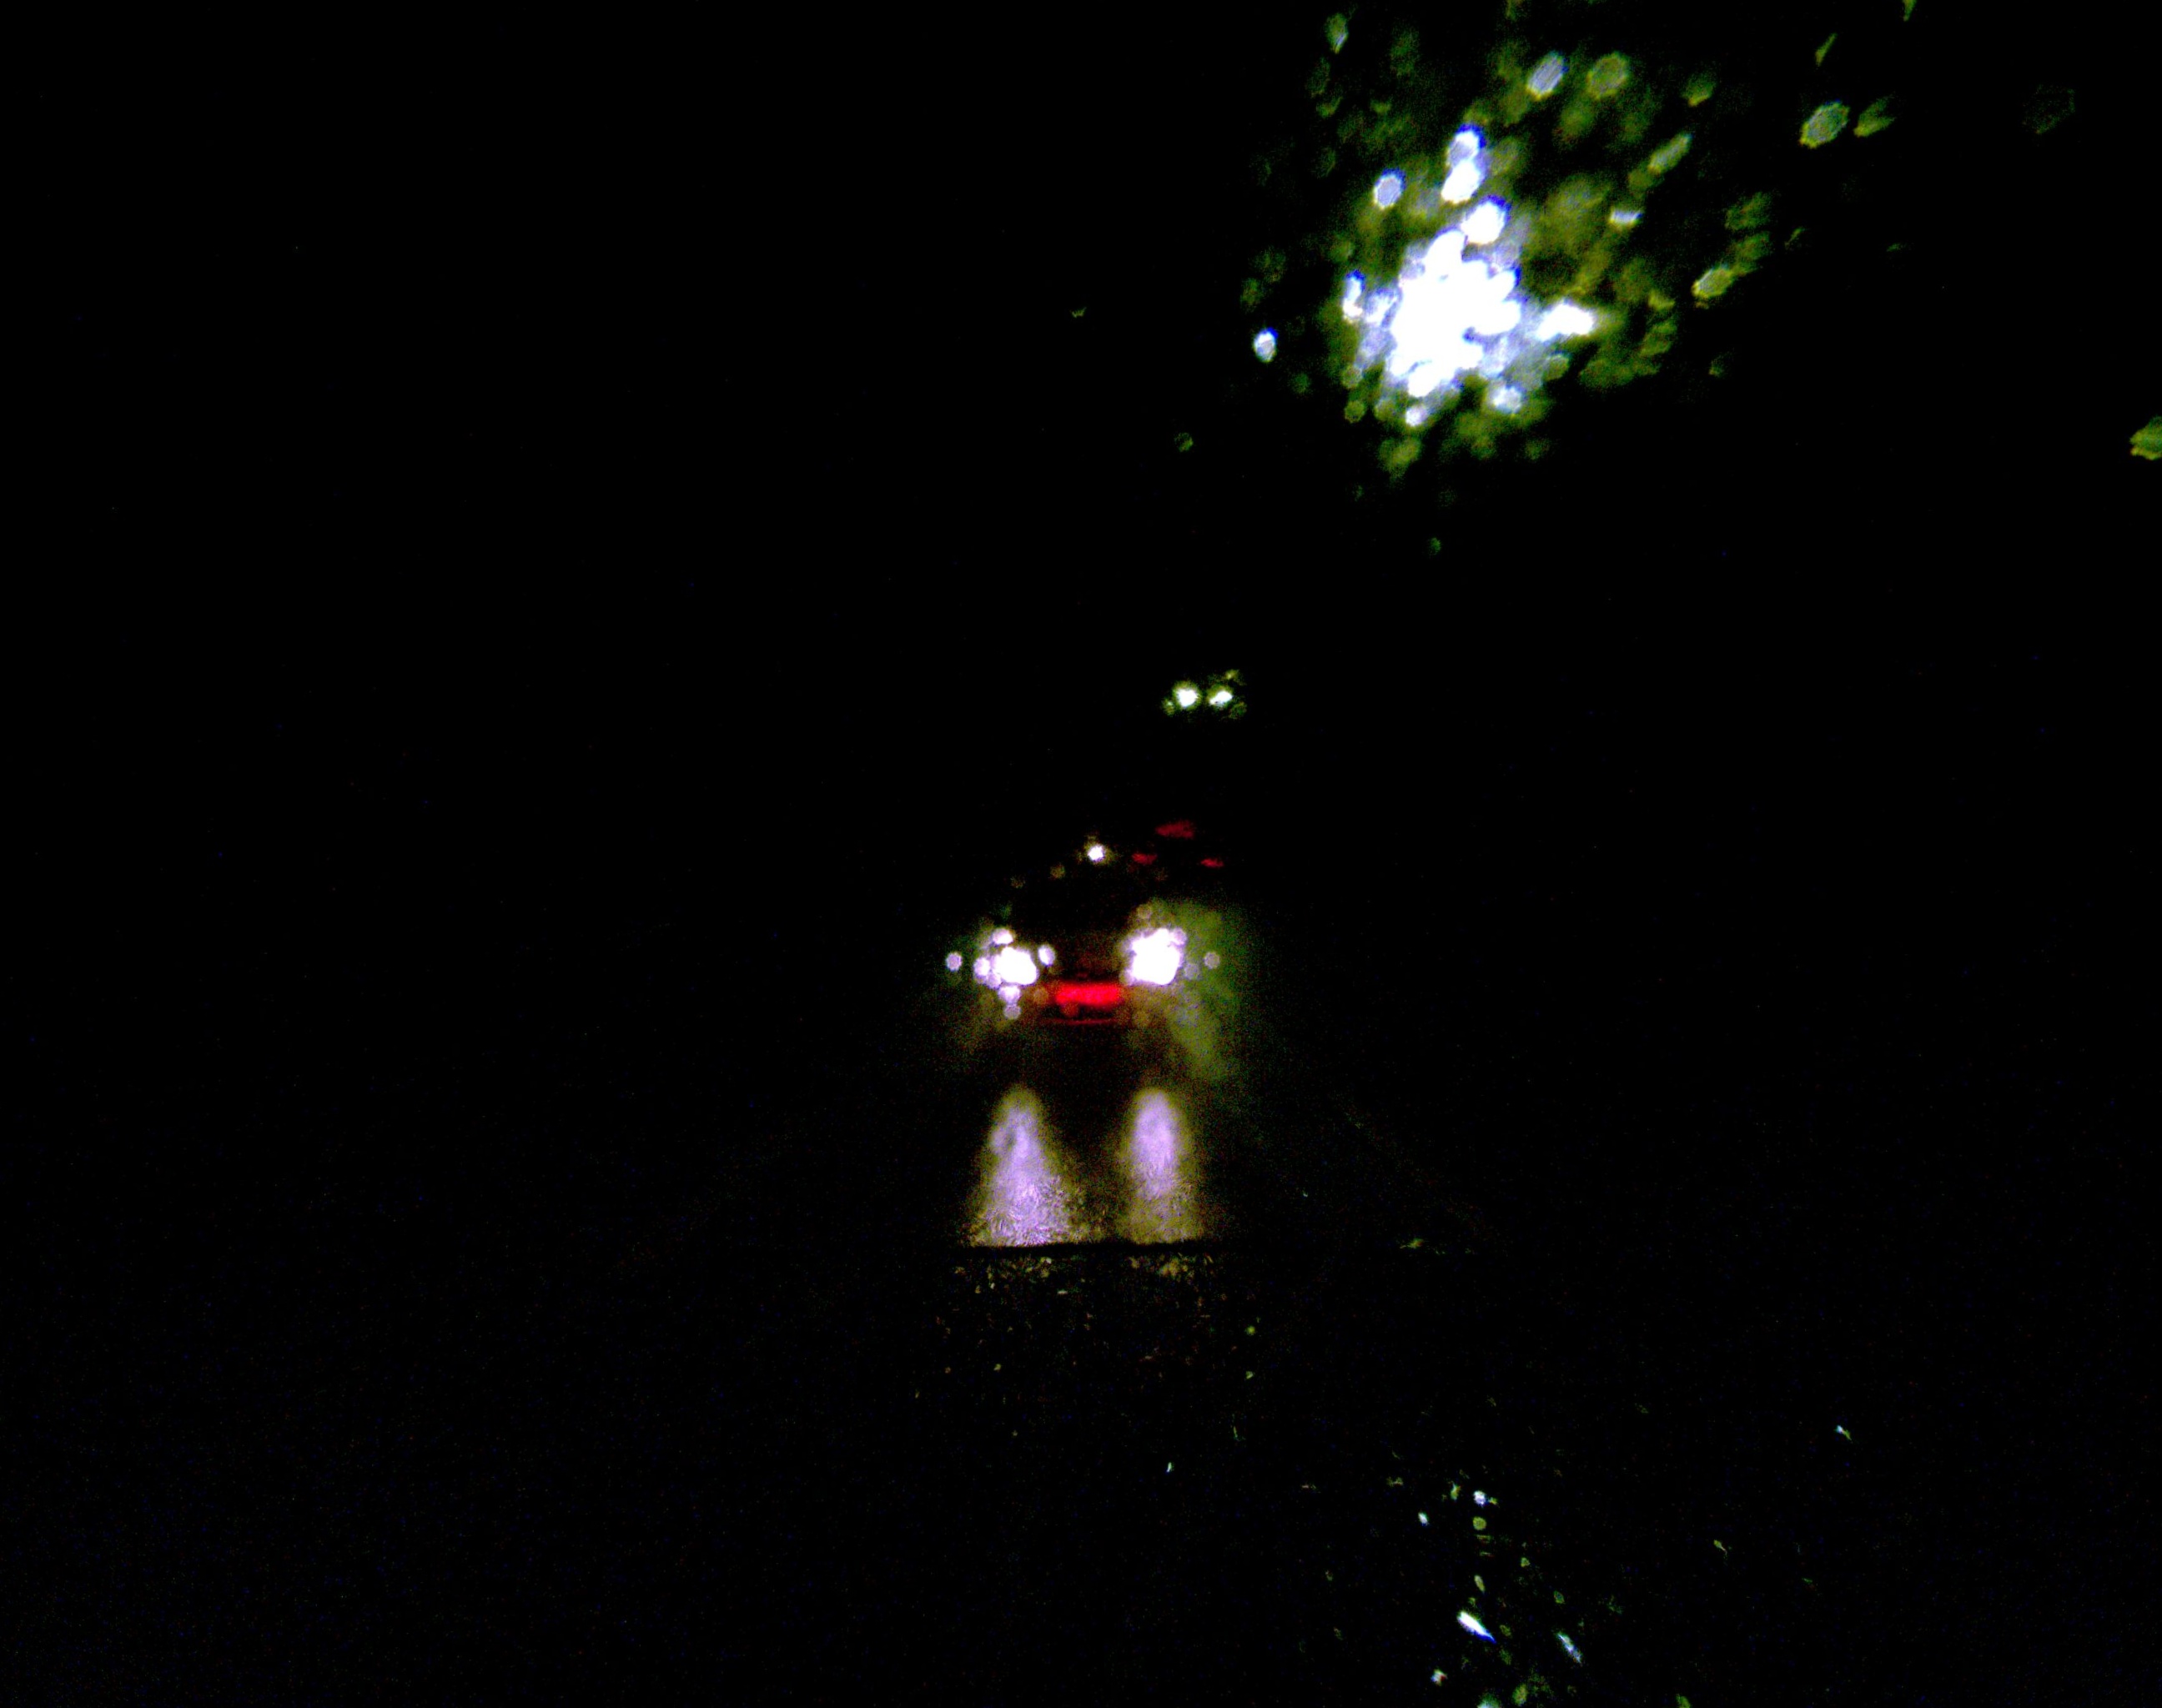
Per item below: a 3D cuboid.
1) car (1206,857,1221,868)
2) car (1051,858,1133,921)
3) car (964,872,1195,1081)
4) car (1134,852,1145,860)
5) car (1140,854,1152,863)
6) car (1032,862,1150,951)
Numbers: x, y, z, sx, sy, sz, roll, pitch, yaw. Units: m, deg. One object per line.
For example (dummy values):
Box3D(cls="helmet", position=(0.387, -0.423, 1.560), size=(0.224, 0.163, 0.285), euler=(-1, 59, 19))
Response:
Box3D(cls="car", position=(21.422, 1.380, 122.688), size=(1.866, 1.637, 4.001), euler=(-2, 0, 3))
Box3D(cls="car", position=(0.305, 0.893, 20.939), size=(1.998, 1.531, 4.000), euler=(-1, 0, 1))
Box3D(cls="car", position=(0.013, 1.002, 7.926), size=(1.764, 1.492, 4.000), euler=(-2, 0, 1))
Box3D(cls="car", position=(12.335, 0.383, 159.963), size=(1.788, 1.637, 3.999), euler=(-2, 0, -1))
Box3D(cls="car", position=(12.209, 0.884, 143.337), size=(1.788, 1.637, 4.000), euler=(-2, 0, 0))
Box3D(cls="car", position=(0.200, 0.923, 14.969), size=(1.998, 1.455, 4.000), euler=(-1, 0, 1))
